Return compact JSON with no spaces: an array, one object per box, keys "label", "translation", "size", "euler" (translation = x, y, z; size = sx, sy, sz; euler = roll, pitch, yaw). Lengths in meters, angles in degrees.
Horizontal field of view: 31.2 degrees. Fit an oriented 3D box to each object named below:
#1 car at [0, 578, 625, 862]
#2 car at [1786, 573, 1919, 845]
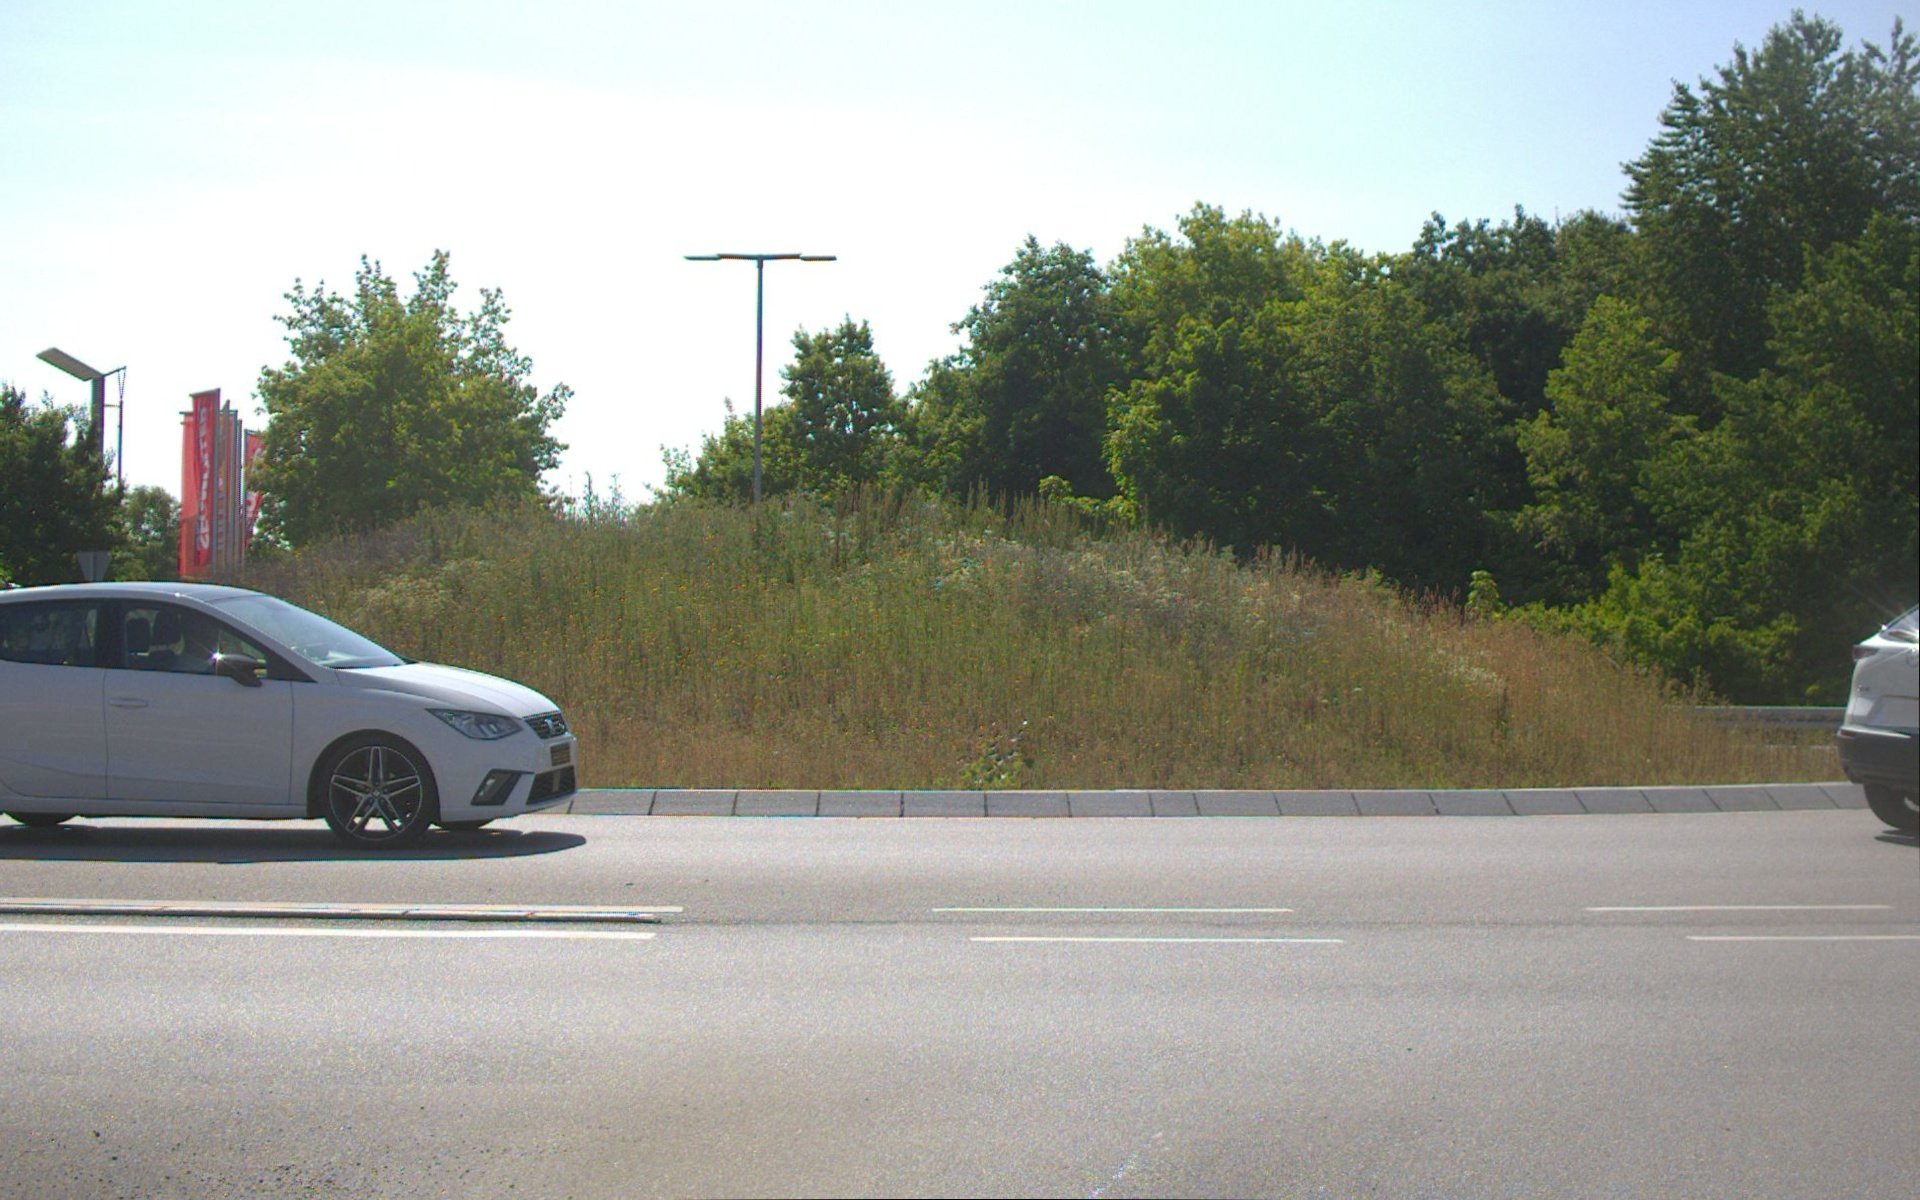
[{"label":"car","translation":[-4.255,0.612,19.213],"size":[4.404,1.400,1.791],"euler":[2,0,9]},{"label":"car","translation":[7.216,0.634,20.389],"size":[4.273,1.525,1.792],"euler":[1,-1,-23]}]
